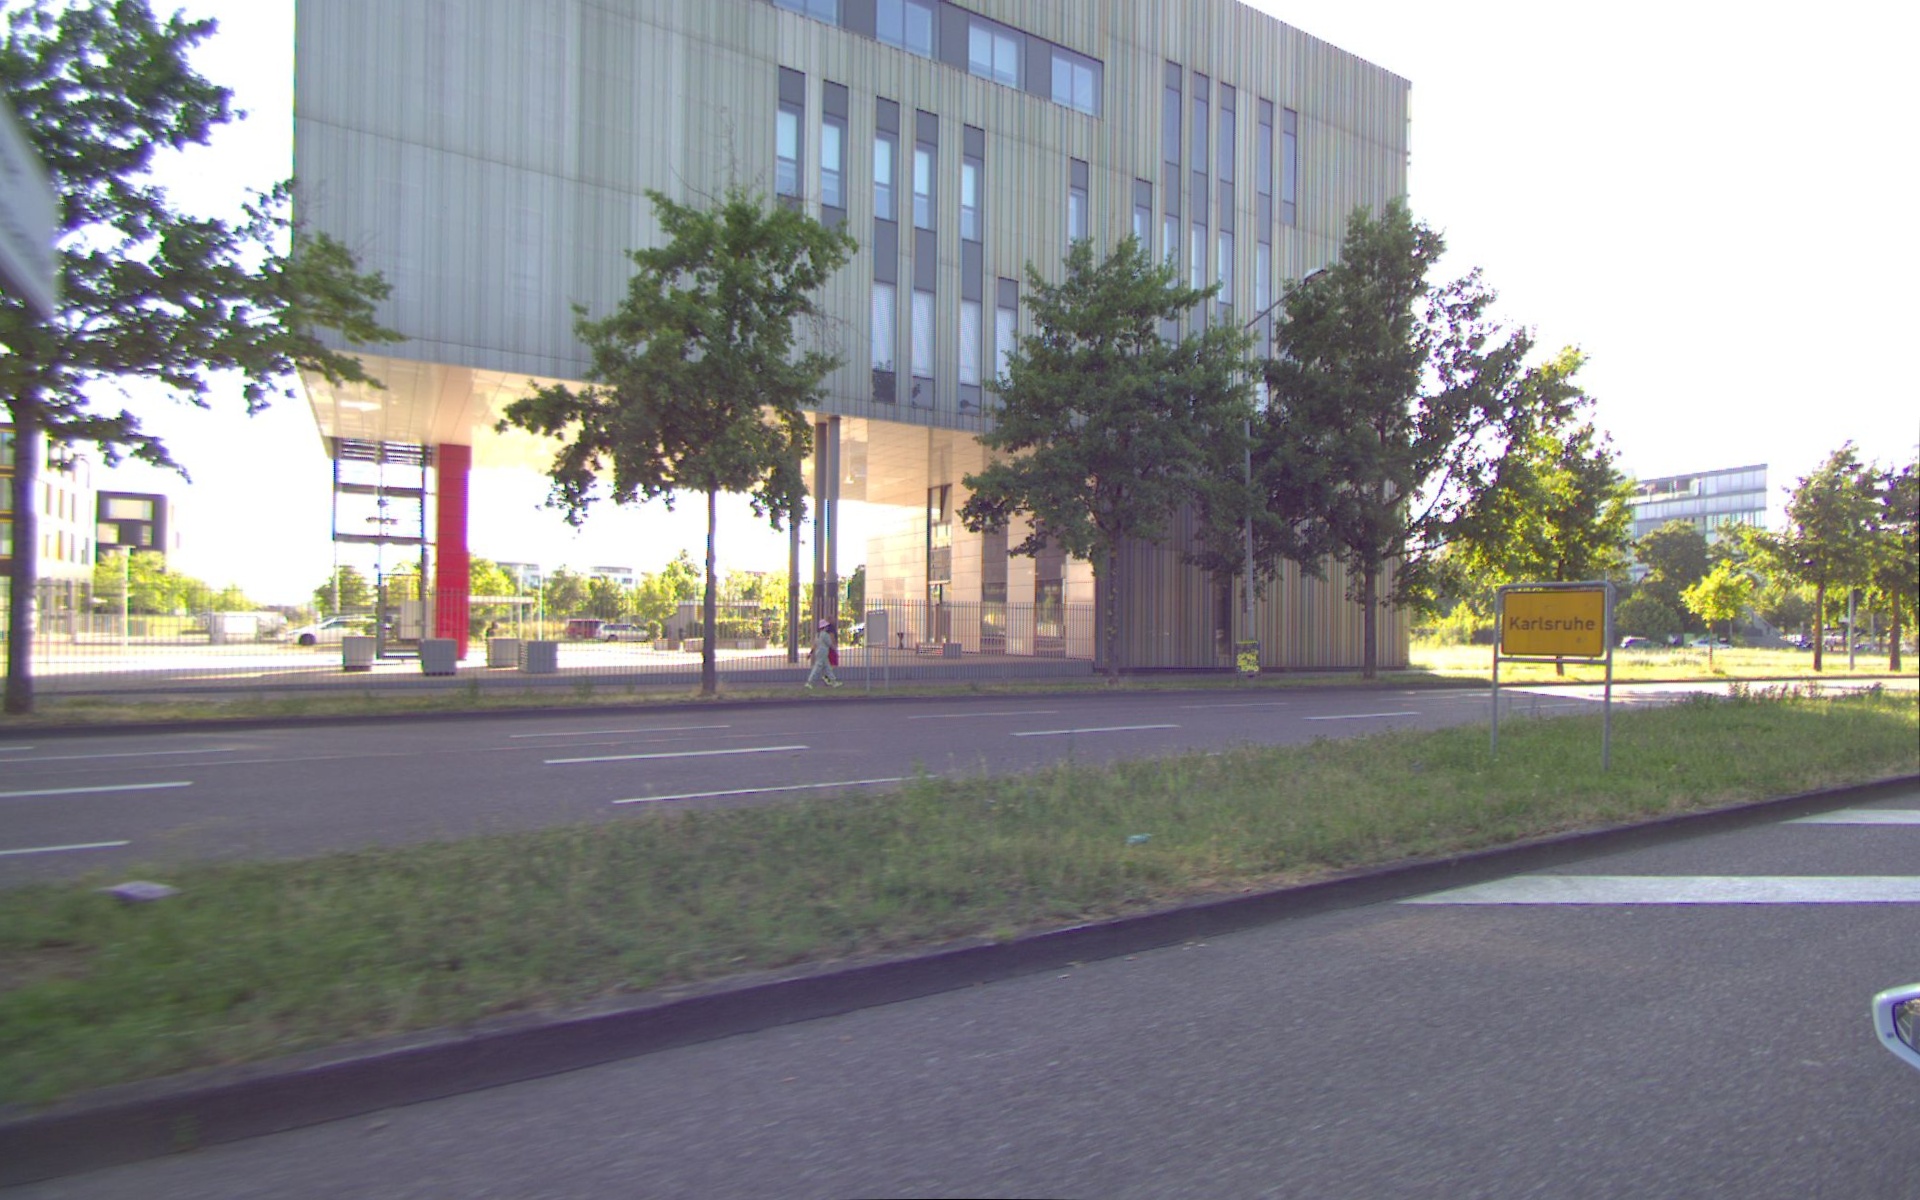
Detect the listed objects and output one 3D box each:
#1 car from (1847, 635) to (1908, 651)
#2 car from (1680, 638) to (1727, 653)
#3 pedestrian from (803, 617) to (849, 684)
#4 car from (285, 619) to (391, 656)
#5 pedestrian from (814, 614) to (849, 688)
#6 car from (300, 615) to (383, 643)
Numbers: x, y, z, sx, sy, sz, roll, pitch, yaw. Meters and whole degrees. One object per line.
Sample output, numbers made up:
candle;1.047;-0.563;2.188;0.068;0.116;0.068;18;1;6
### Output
car;94.678;4.454;103.663;4.222;1.528;1.876;0;-1;17
car;80.179;4.901;108.371;3.635;1.528;1.876;0;-1;17
pedestrian;-3.325;1.230;24.885;0.898;1.623;0.772;1;-1;-29
car;-33.326;1.995;53.920;4.733;1.899;1.895;1;-1;-32
pedestrian;-3.298;1.307;25.791;0.708;1.866;0.630;1;-1;-29
car;-39.623;1.855;64.479;4.457;1.773;1.895;1;-1;-32
